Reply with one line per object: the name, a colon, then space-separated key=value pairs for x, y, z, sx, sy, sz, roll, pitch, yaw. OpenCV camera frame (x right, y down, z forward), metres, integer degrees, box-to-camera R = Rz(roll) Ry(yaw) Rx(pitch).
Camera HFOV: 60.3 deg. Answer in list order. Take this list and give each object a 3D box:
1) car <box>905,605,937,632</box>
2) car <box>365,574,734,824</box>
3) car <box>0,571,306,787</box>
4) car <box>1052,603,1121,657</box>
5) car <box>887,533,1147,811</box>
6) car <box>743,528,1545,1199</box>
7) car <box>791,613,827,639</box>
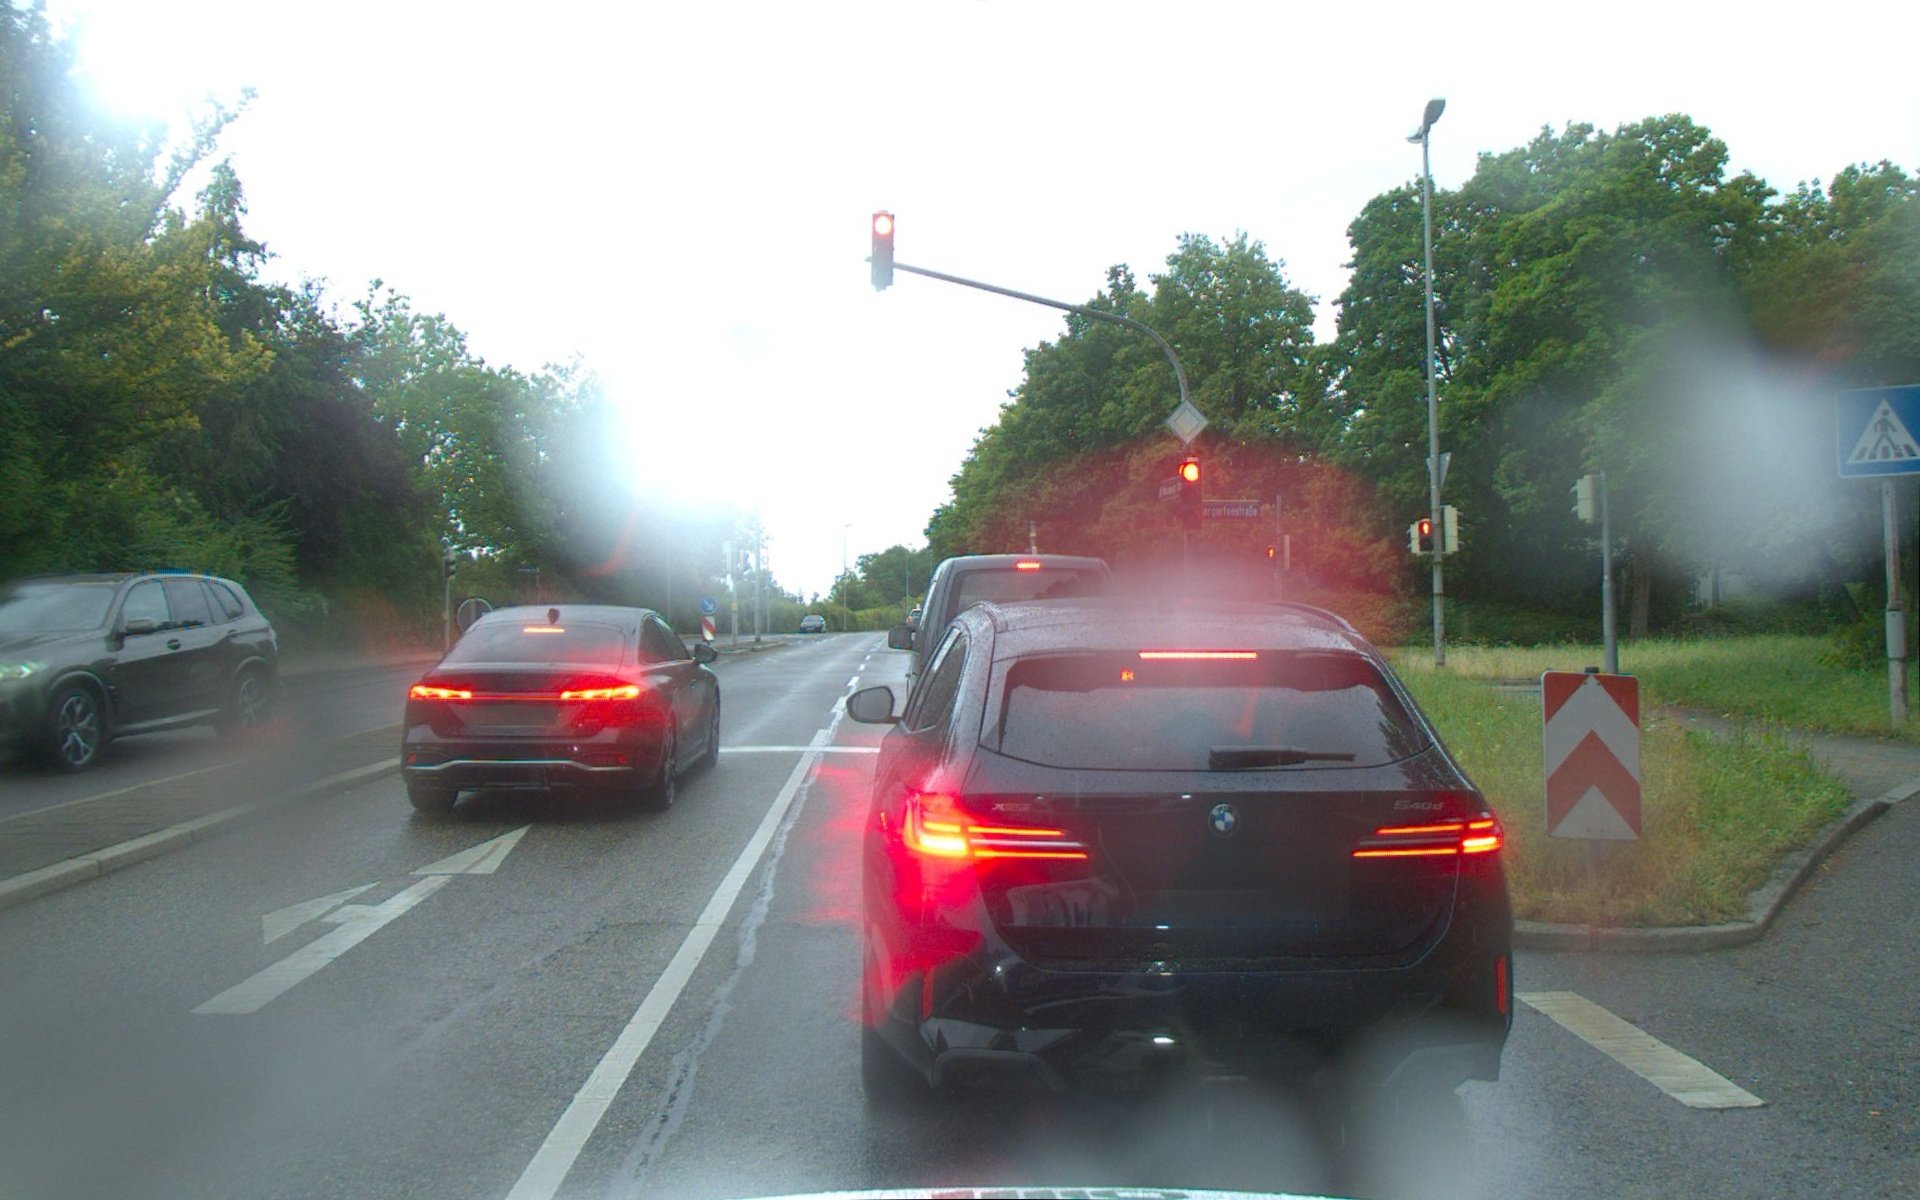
car: x=-2.199 y=1.047 z=93.589 sx=1.663 sy=1.452 sz=3.513 roll=-2 pitch=0 yaw=0
car: x=-2.976 y=0.661 z=12.991 sx=1.954 sy=1.554 sz=4.325 roll=-2 pitch=0 yaw=-3
car: x=-8.401 y=0.653 z=15.863 sx=1.951 sy=1.747 sz=4.721 roll=-2 pitch=0 yaw=6
car: x=3.972 y=0.922 z=52.469 sx=1.835 sy=1.569 sz=3.952 roll=-2 pitch=0 yaw=0
car: x=0.384 y=0.510 z=13.352 sx=1.781 sy=1.901 sz=3.952 roll=0 pitch=0 yaw=0
car: x=0.534 y=0.666 z=6.169 sx=1.858 sy=1.578 sz=4.616 roll=0 pitch=-1 yaw=3
car: x=-11.646 y=1.976 z=127.635 sx=1.951 sy=1.858 sz=4.002 roll=-2 pitch=-1 yaw=6
